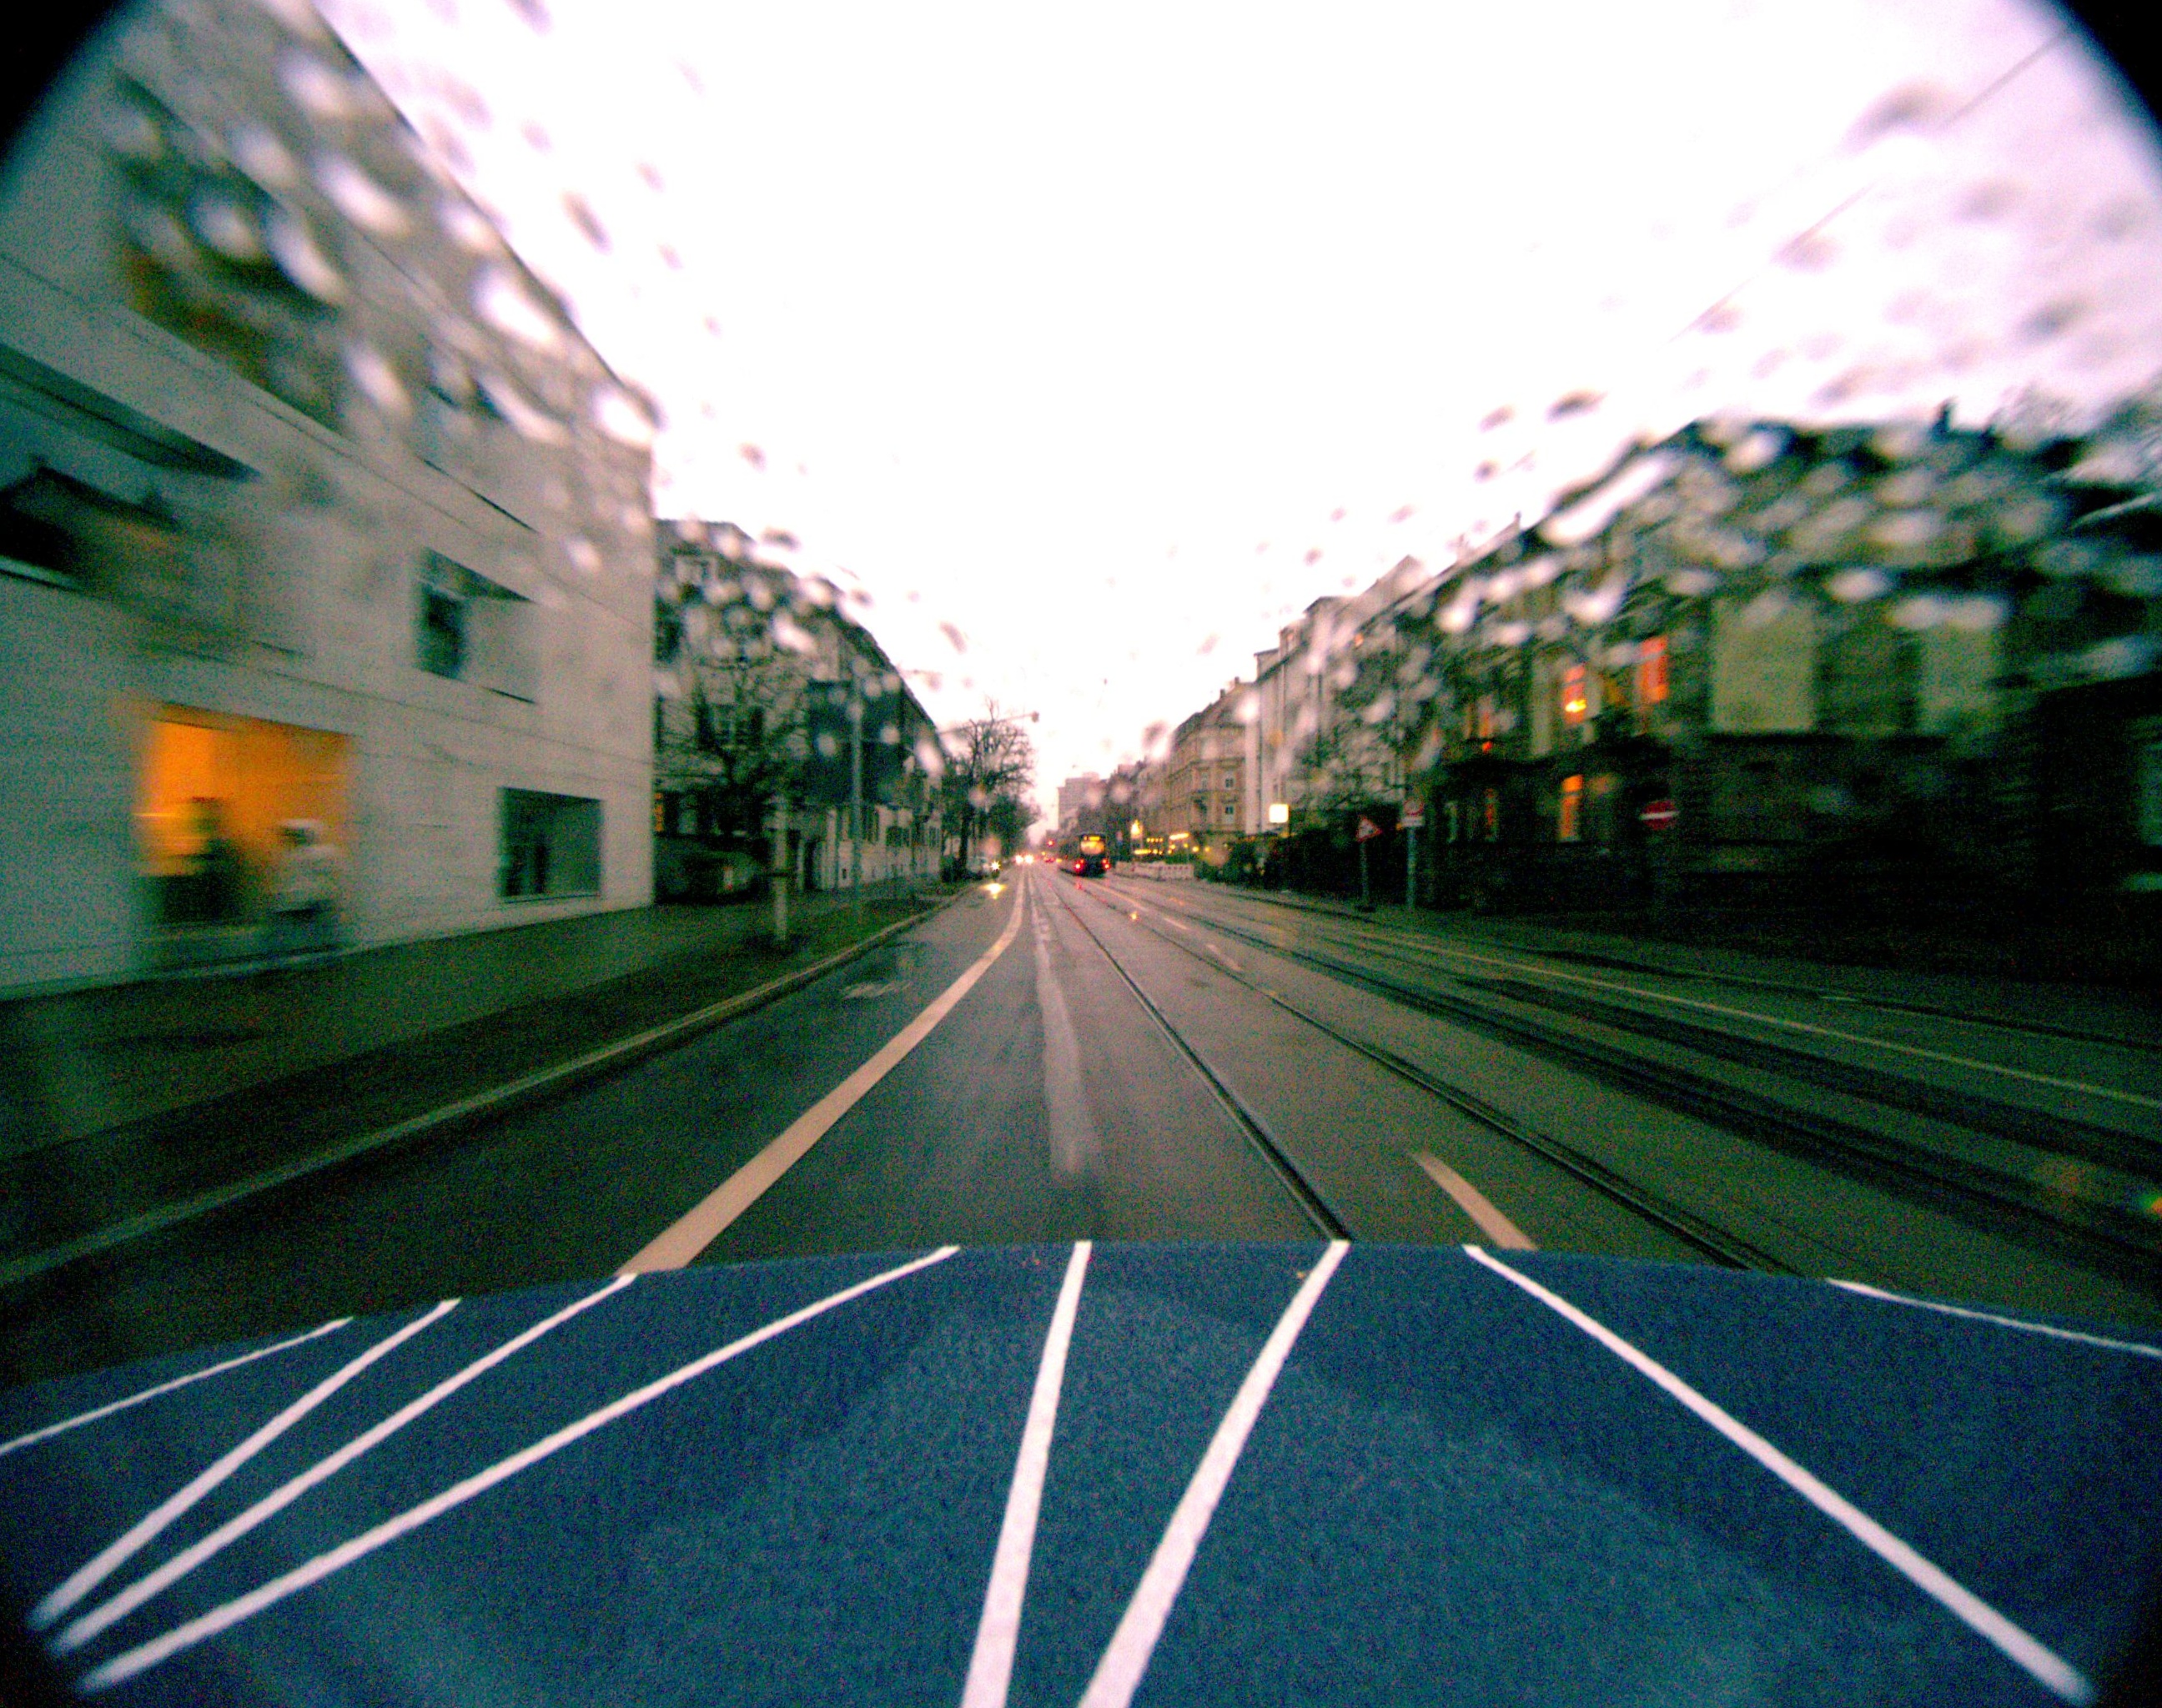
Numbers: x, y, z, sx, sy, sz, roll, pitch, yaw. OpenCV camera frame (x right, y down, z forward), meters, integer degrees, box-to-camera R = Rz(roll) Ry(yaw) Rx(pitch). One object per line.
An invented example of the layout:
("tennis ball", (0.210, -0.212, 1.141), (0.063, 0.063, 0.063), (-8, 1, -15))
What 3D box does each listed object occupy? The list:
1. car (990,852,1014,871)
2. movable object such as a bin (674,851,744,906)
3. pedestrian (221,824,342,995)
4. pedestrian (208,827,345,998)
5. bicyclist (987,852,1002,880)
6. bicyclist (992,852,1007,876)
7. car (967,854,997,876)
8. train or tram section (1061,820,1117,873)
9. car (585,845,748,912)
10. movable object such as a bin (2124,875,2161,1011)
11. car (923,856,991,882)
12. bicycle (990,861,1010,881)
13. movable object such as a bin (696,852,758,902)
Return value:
("car", (-6.967, 0.644, 67.109), (1.658, 1.507, 3.501), (-2, 1, 1))
("movable object such as a bin", (-10.149, 0.651, 20.779), (1.260, 1.437, 1.418), (0, 1, -4))
("pedestrian", (-8.995, 0.606, 8.570), (0.657, 1.849, 0.659), (1, 1, -2))
("pedestrian", (-9.058, 0.637, 8.585), (0.773, 1.848, 0.718), (1, 1, -2))
("bicyclist", (-5.051, 0.678, 44.342), (0.750, 1.572, 0.797), (-2, 1, -9))
("bicyclist", (-4.729, 0.594, 44.325), (0.716, 1.335, 0.719), (-2, 1, 3))
("car", (-7.400, 0.808, 57.144), (1.658, 1.507, 3.501), (-2, 1, 1))
("train or tram section", (0.230, -0.651, 68.783), (2.886, 3.715, 27.320), (-2, 1, -4))
("car", (-11.262, 0.632, 20.848), (3.459, 1.637, 1.731), (-2, 1, -4))
("movable object such as a bin", (12.669, 0.988, 8.342), (0.988, 1.456, 1.340), (-3, 1, -41))
("car", (-7.729, 0.929, 47.350), (3.860, 1.421, 1.859), (-2, 1, -20))
("bicycle", (-4.716, 0.987, 44.289), (0.723, 1.084, 2.286), (-1, -1, 4))
("movable object such as a bin", (-10.498, 0.670, 22.590), (1.260, 1.437, 1.418), (0, 1, -6))
